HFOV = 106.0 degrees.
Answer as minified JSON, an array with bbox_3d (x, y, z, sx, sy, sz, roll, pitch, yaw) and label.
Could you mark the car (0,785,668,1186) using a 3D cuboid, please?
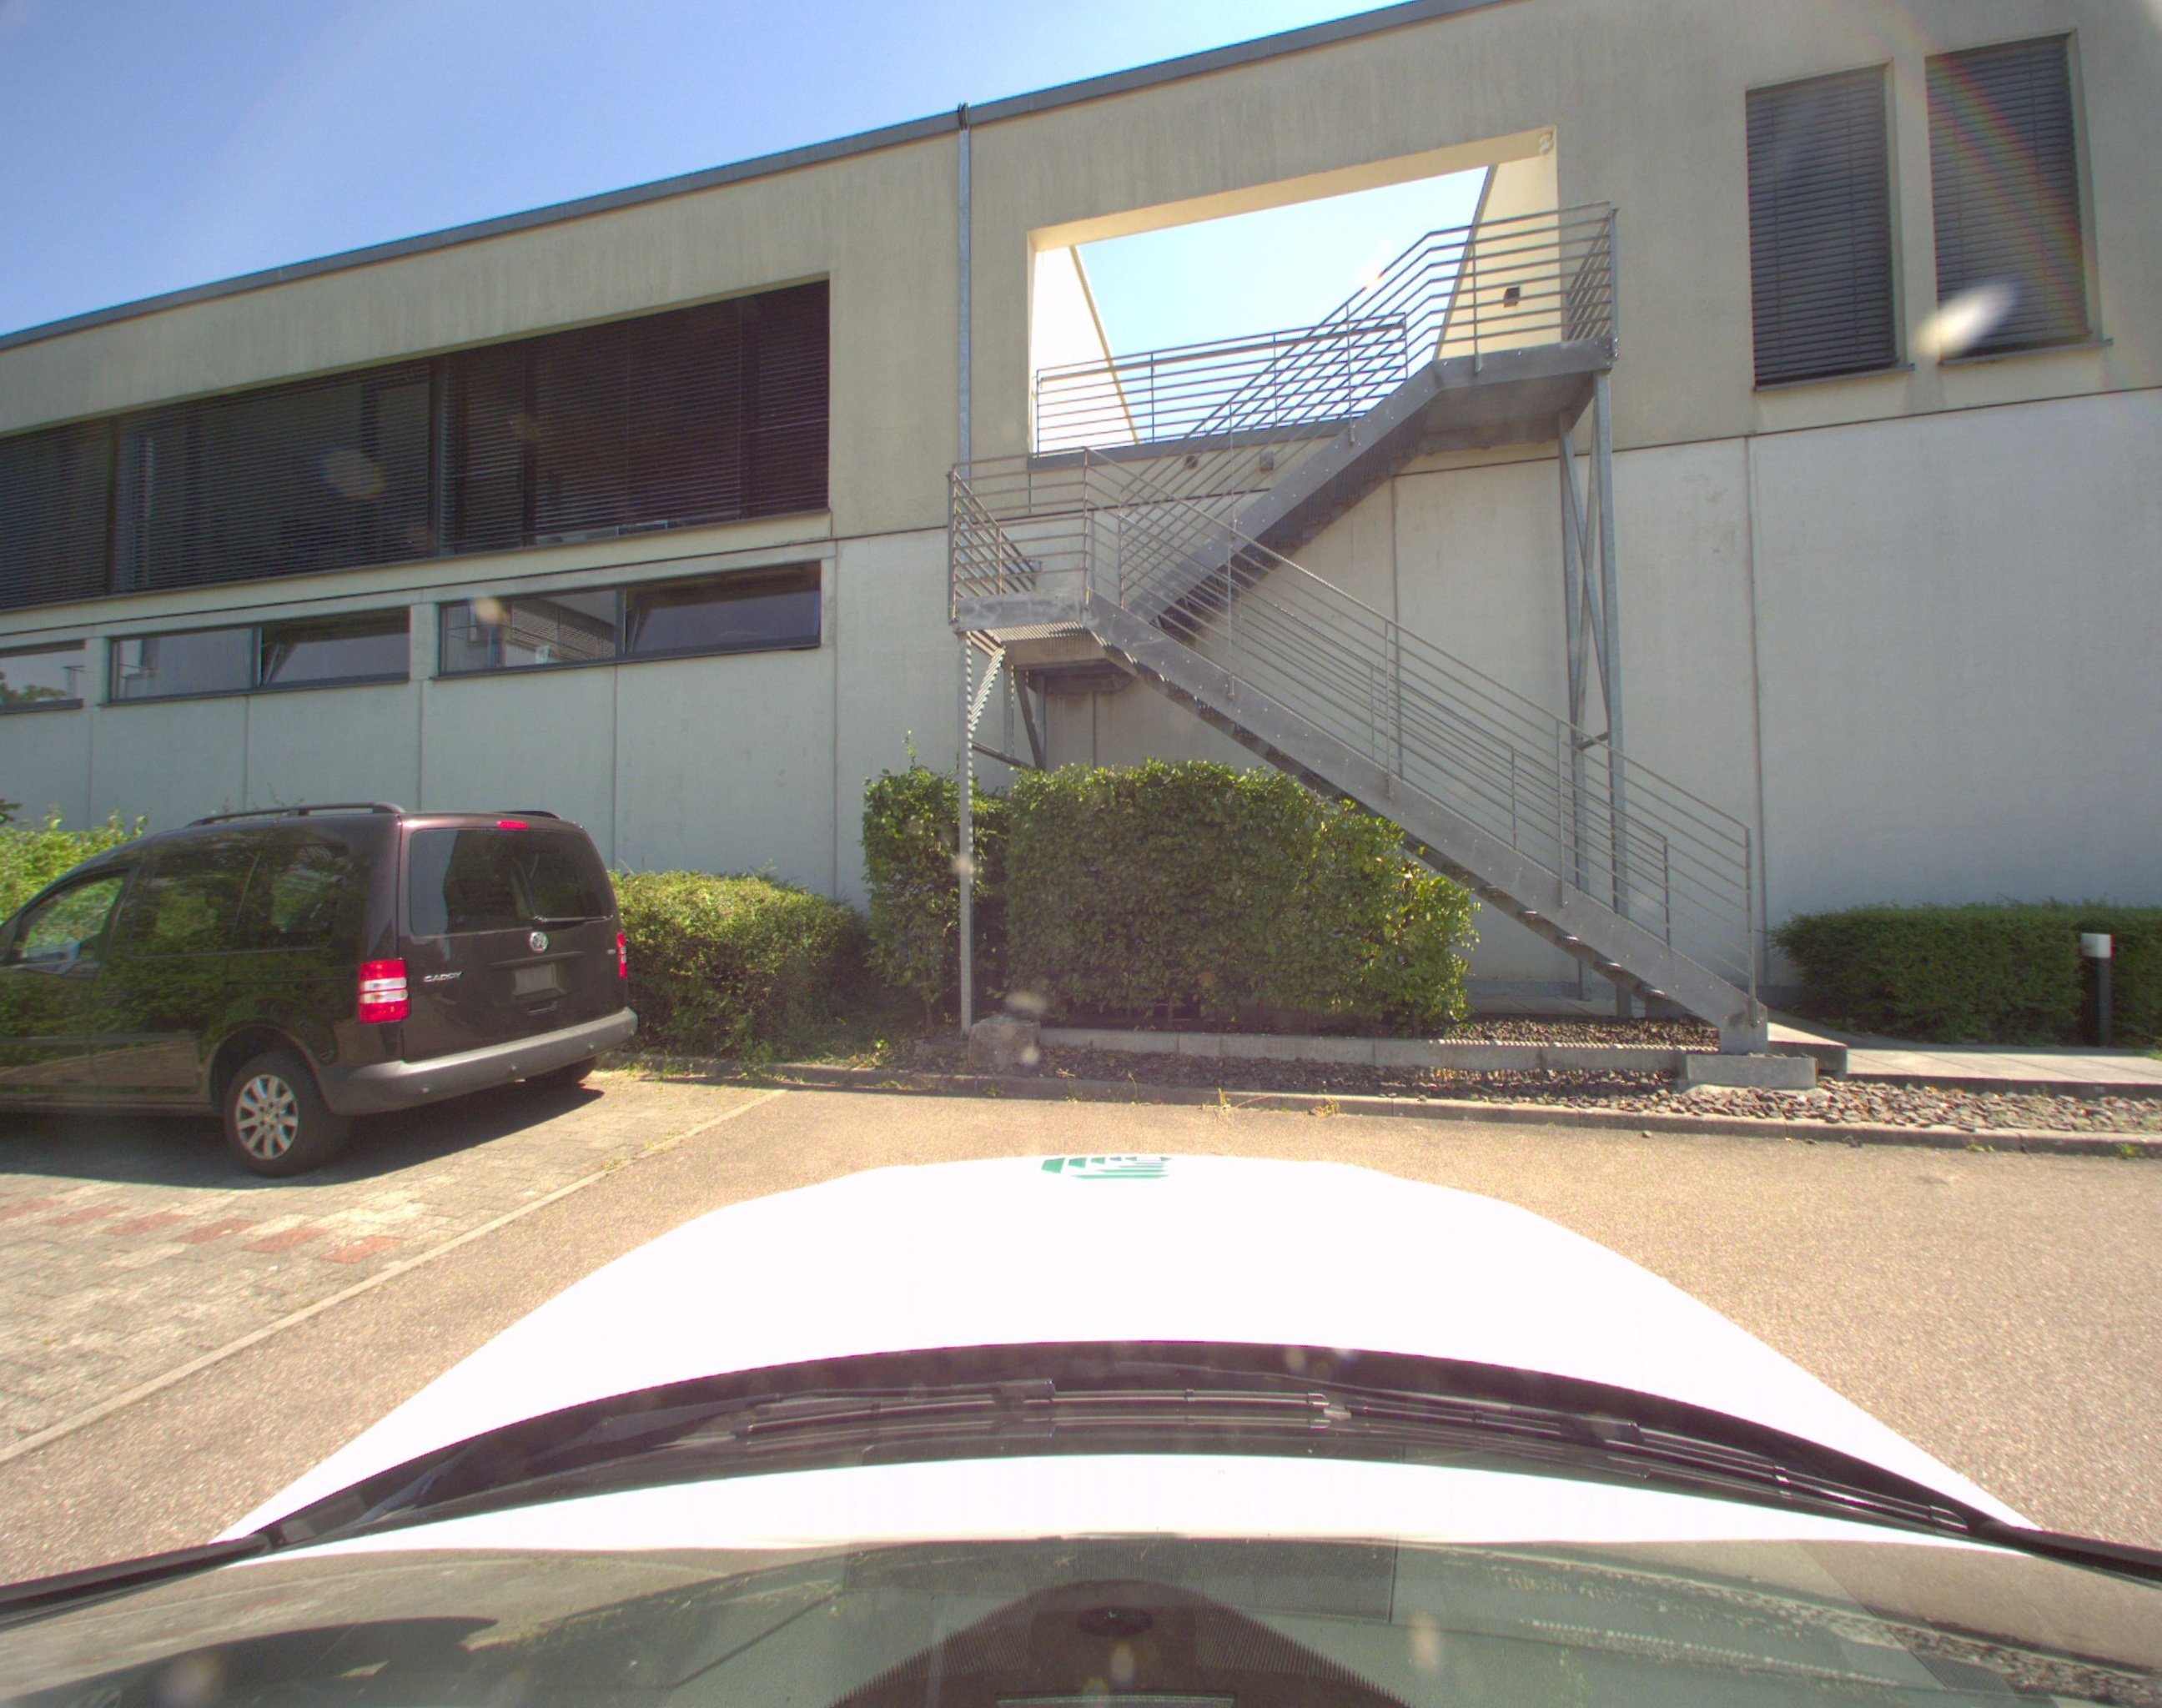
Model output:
[{"bbox_3d":[-4.947,0.650,5.135,4.029,1.884,1.685,-1,-1,14],"label":"car"}]
